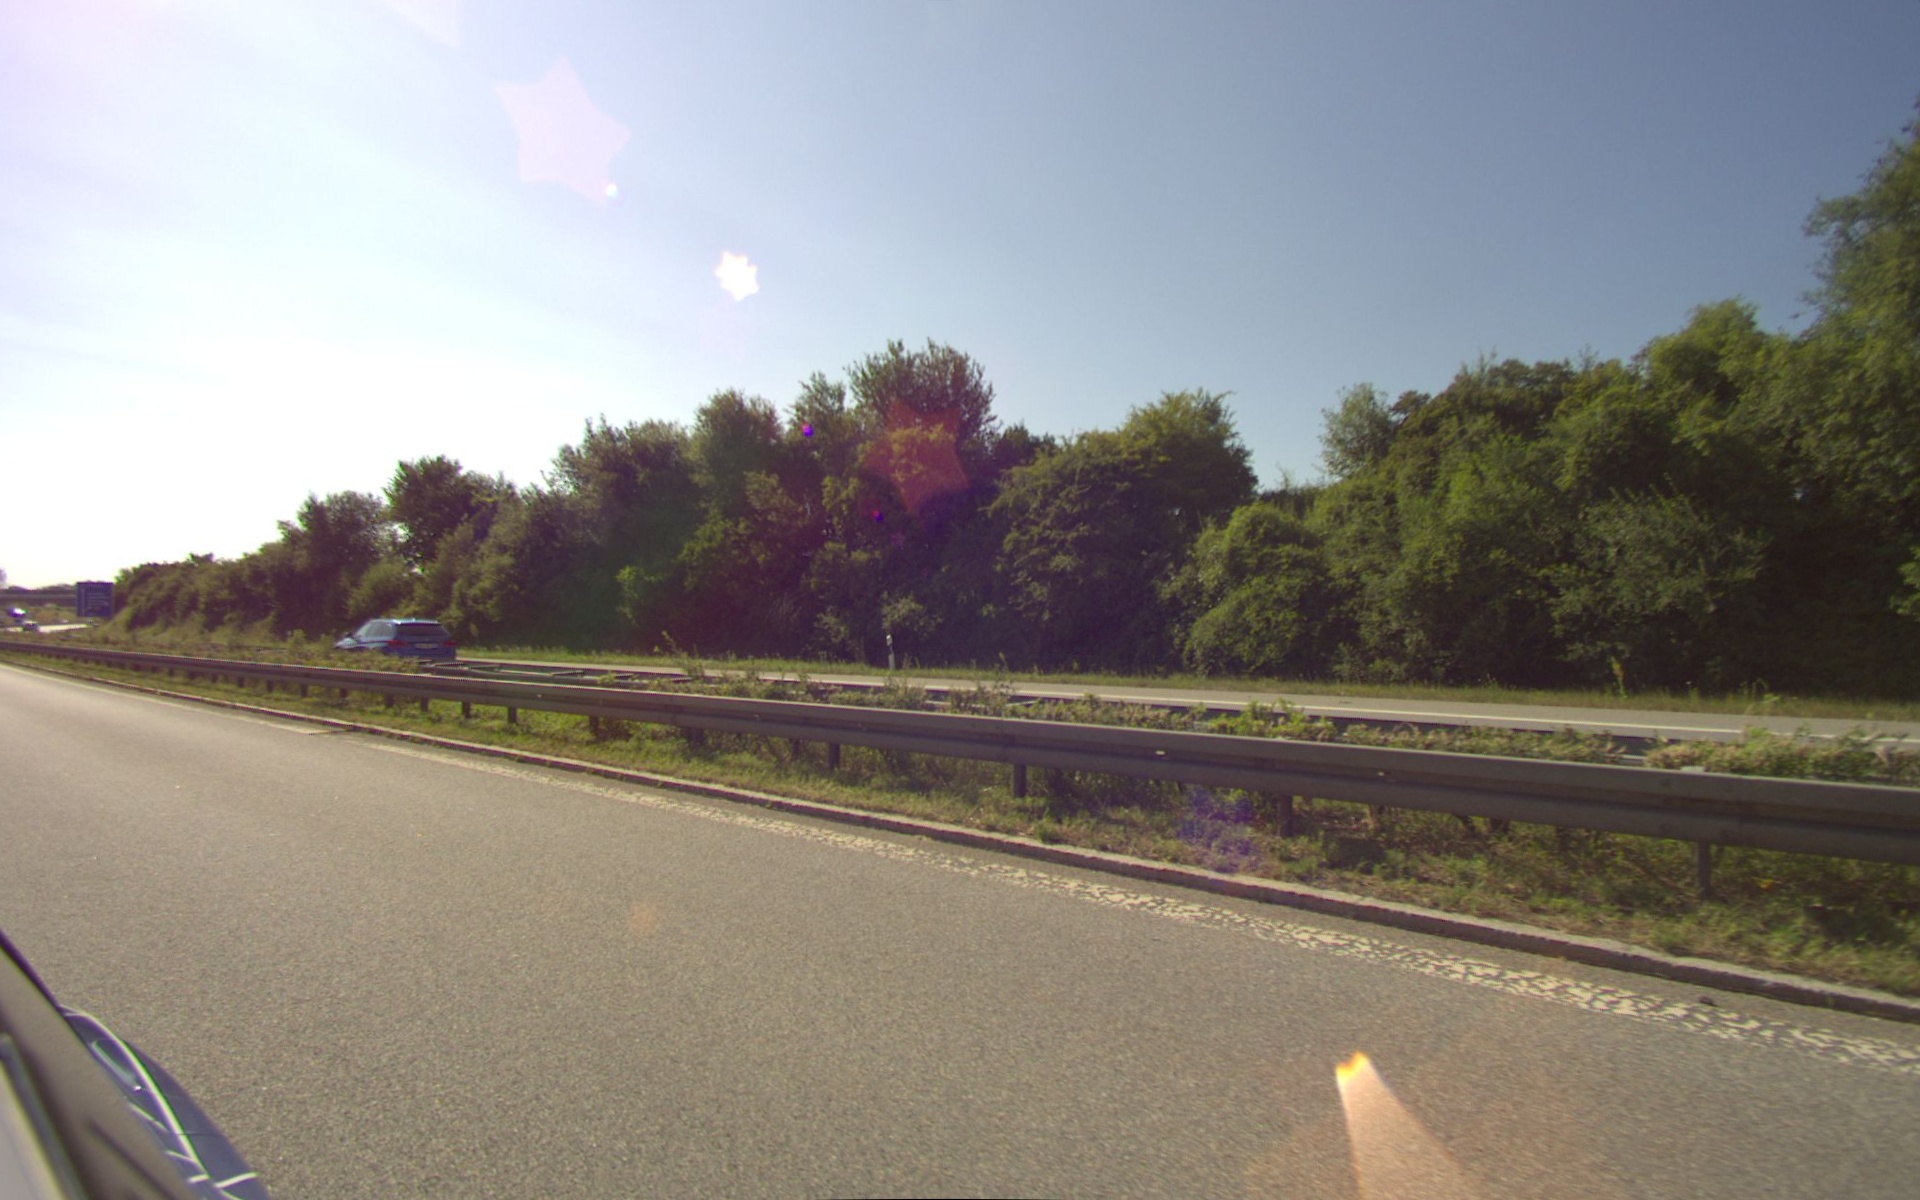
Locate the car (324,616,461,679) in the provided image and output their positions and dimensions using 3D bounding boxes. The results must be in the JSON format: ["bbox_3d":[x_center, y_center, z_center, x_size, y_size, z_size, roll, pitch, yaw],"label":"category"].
[{"bbox_3d":[-14.660,1.182,26.073,4.227,1.506,1.749,-1,-3,41],"label":"car"}]

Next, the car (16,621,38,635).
[{"bbox_3d":[-135.350,4.097,146.804,4.855,2.029,1.972,-1,-3,43],"label":"car"}]
